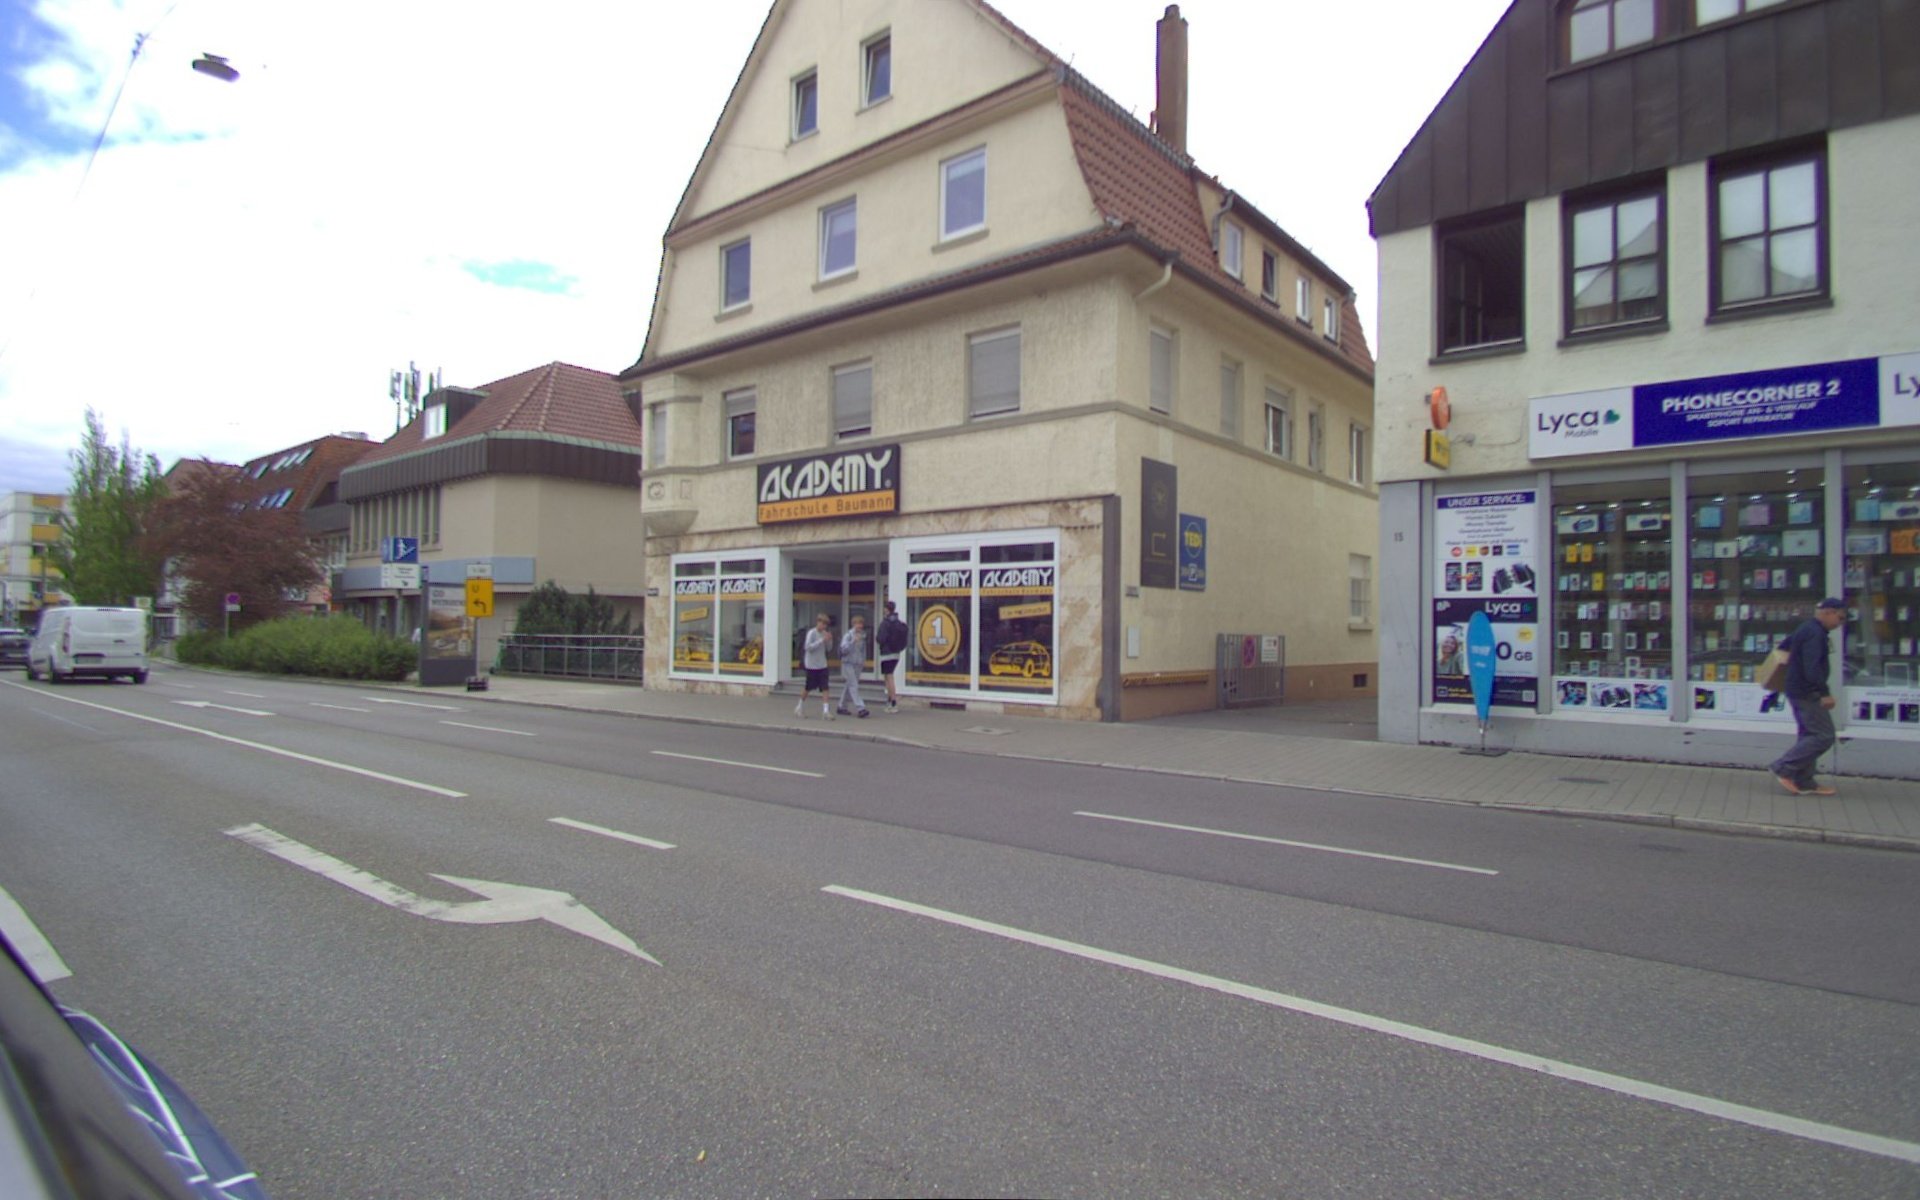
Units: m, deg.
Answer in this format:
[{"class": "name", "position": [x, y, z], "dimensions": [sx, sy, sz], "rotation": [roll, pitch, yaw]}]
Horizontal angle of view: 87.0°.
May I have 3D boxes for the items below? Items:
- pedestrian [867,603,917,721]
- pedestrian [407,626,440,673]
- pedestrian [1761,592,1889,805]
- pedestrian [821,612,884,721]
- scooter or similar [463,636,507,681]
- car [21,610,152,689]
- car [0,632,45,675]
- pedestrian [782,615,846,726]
[{"class": "pedestrian", "position": [-1.125, 1.015, 16.775], "dimensions": [0.592, 1.903, 0.544], "rotation": [-2, -1, 37]}, {"class": "pedestrian", "position": [-20.636, 1.891, 38.930], "dimensions": [0.837, 1.772, 0.825], "rotation": [-2, -3, 41]}, {"class": "pedestrian", "position": [7.447, 0.808, 8.736], "dimensions": [0.775, 1.726, 0.680], "rotation": [-2, -1, 41]}, {"class": "pedestrian", "position": [-1.742, 1.061, 16.426], "dimensions": [0.709, 1.683, 0.681], "rotation": [-2, 0, 40]}, {"class": "scooter or similar", "position": [-15.147, 1.850, 32.278], "dimensions": [0.536, 1.404, 1.182], "rotation": [-1, -2, 25]}, {"class": "car", "position": [-23.315, 1.288, 26.966], "dimensions": [4.318, 1.924, 1.932], "rotation": [-2, -3, 40]}, {"class": "car", "position": [-32.708, 1.811, 34.610], "dimensions": [3.539, 1.410, 1.630], "rotation": [-2, -3, 40]}, {"class": "pedestrian", "position": [-2.308, 1.091, 15.989], "dimensions": [0.742, 1.703, 0.680], "rotation": [-2, -2, 41]}]
